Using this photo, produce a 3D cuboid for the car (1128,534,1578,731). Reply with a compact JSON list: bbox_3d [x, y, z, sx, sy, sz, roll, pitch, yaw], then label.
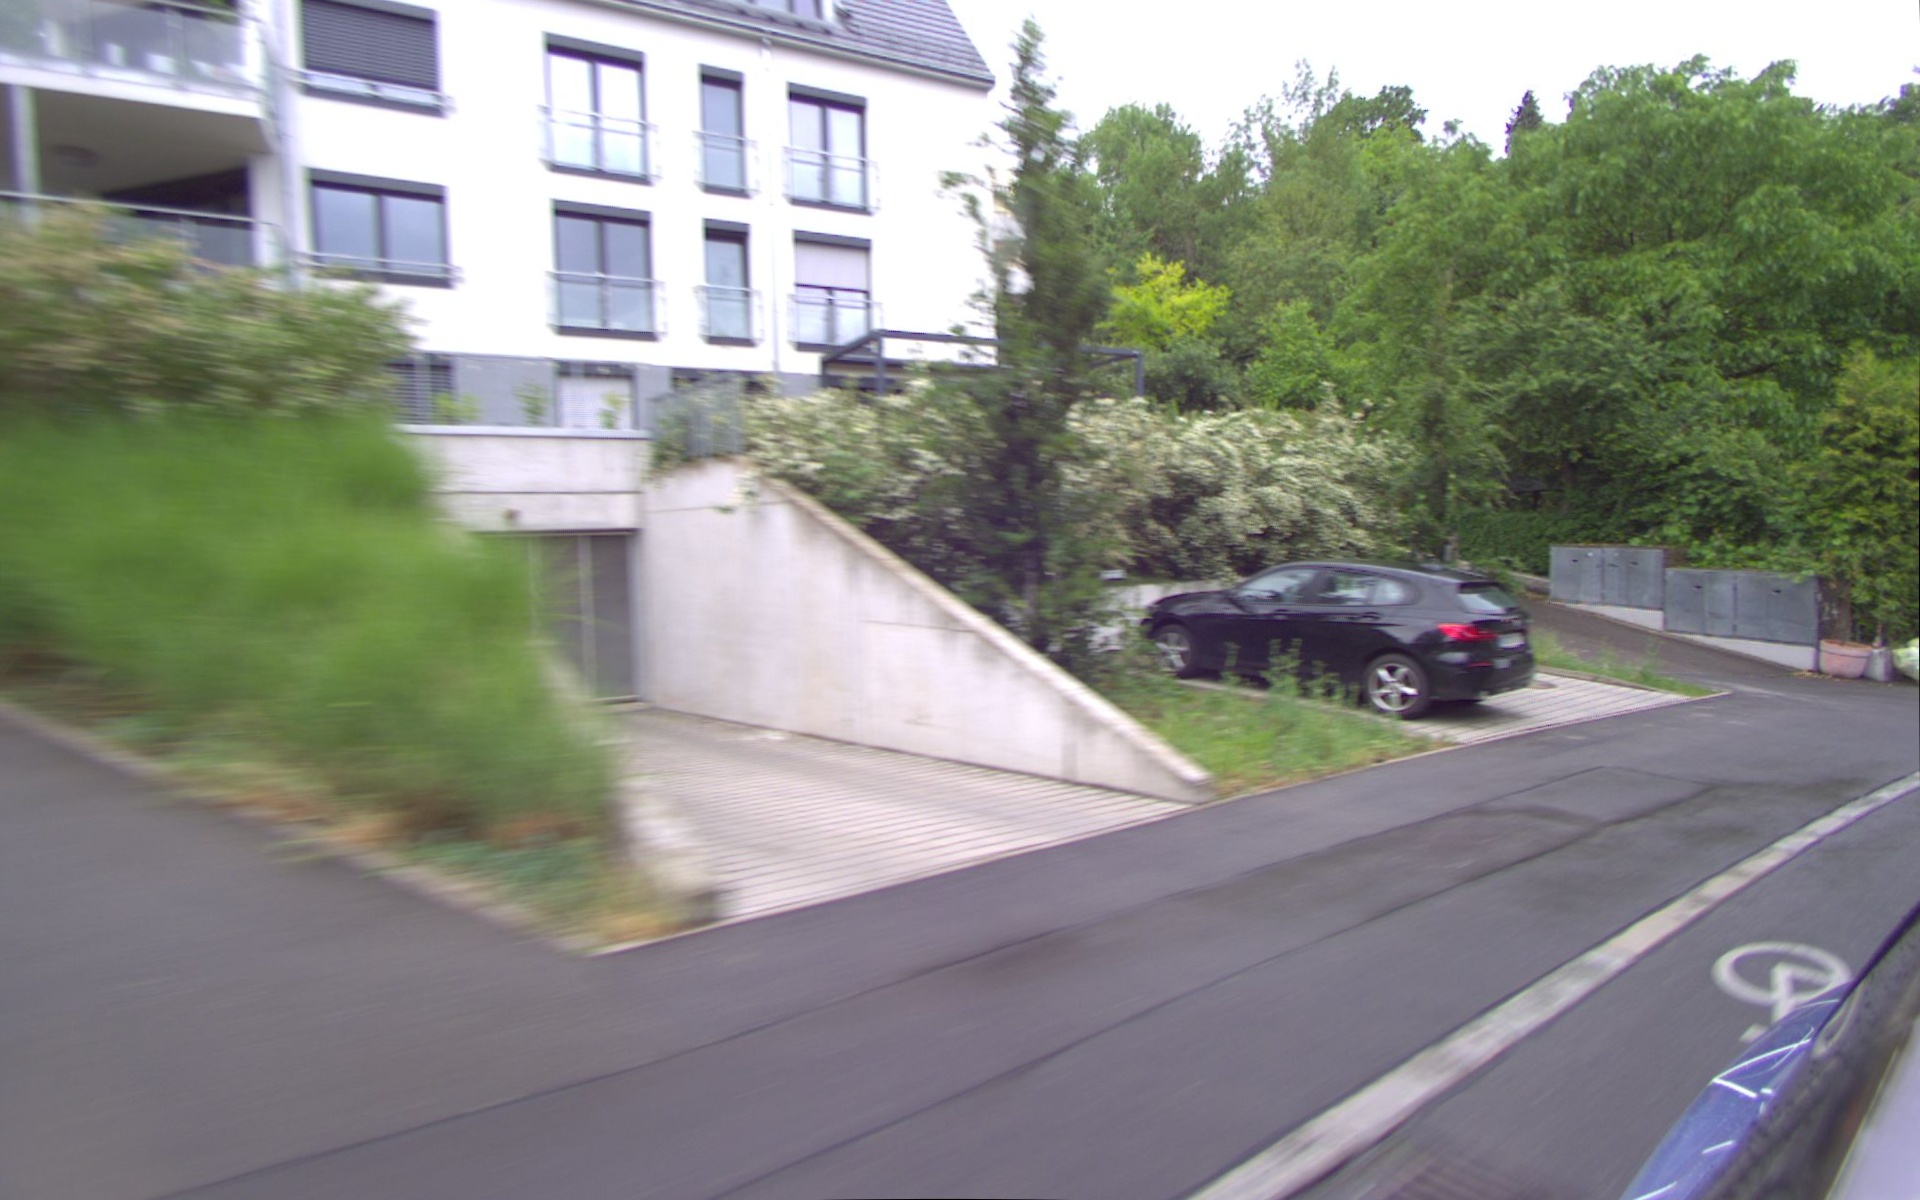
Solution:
[{"bbox_3d":[3.992,0.152,10.932,1.710,1.525,4.182,-2,7,-39],"label":"car"}]
